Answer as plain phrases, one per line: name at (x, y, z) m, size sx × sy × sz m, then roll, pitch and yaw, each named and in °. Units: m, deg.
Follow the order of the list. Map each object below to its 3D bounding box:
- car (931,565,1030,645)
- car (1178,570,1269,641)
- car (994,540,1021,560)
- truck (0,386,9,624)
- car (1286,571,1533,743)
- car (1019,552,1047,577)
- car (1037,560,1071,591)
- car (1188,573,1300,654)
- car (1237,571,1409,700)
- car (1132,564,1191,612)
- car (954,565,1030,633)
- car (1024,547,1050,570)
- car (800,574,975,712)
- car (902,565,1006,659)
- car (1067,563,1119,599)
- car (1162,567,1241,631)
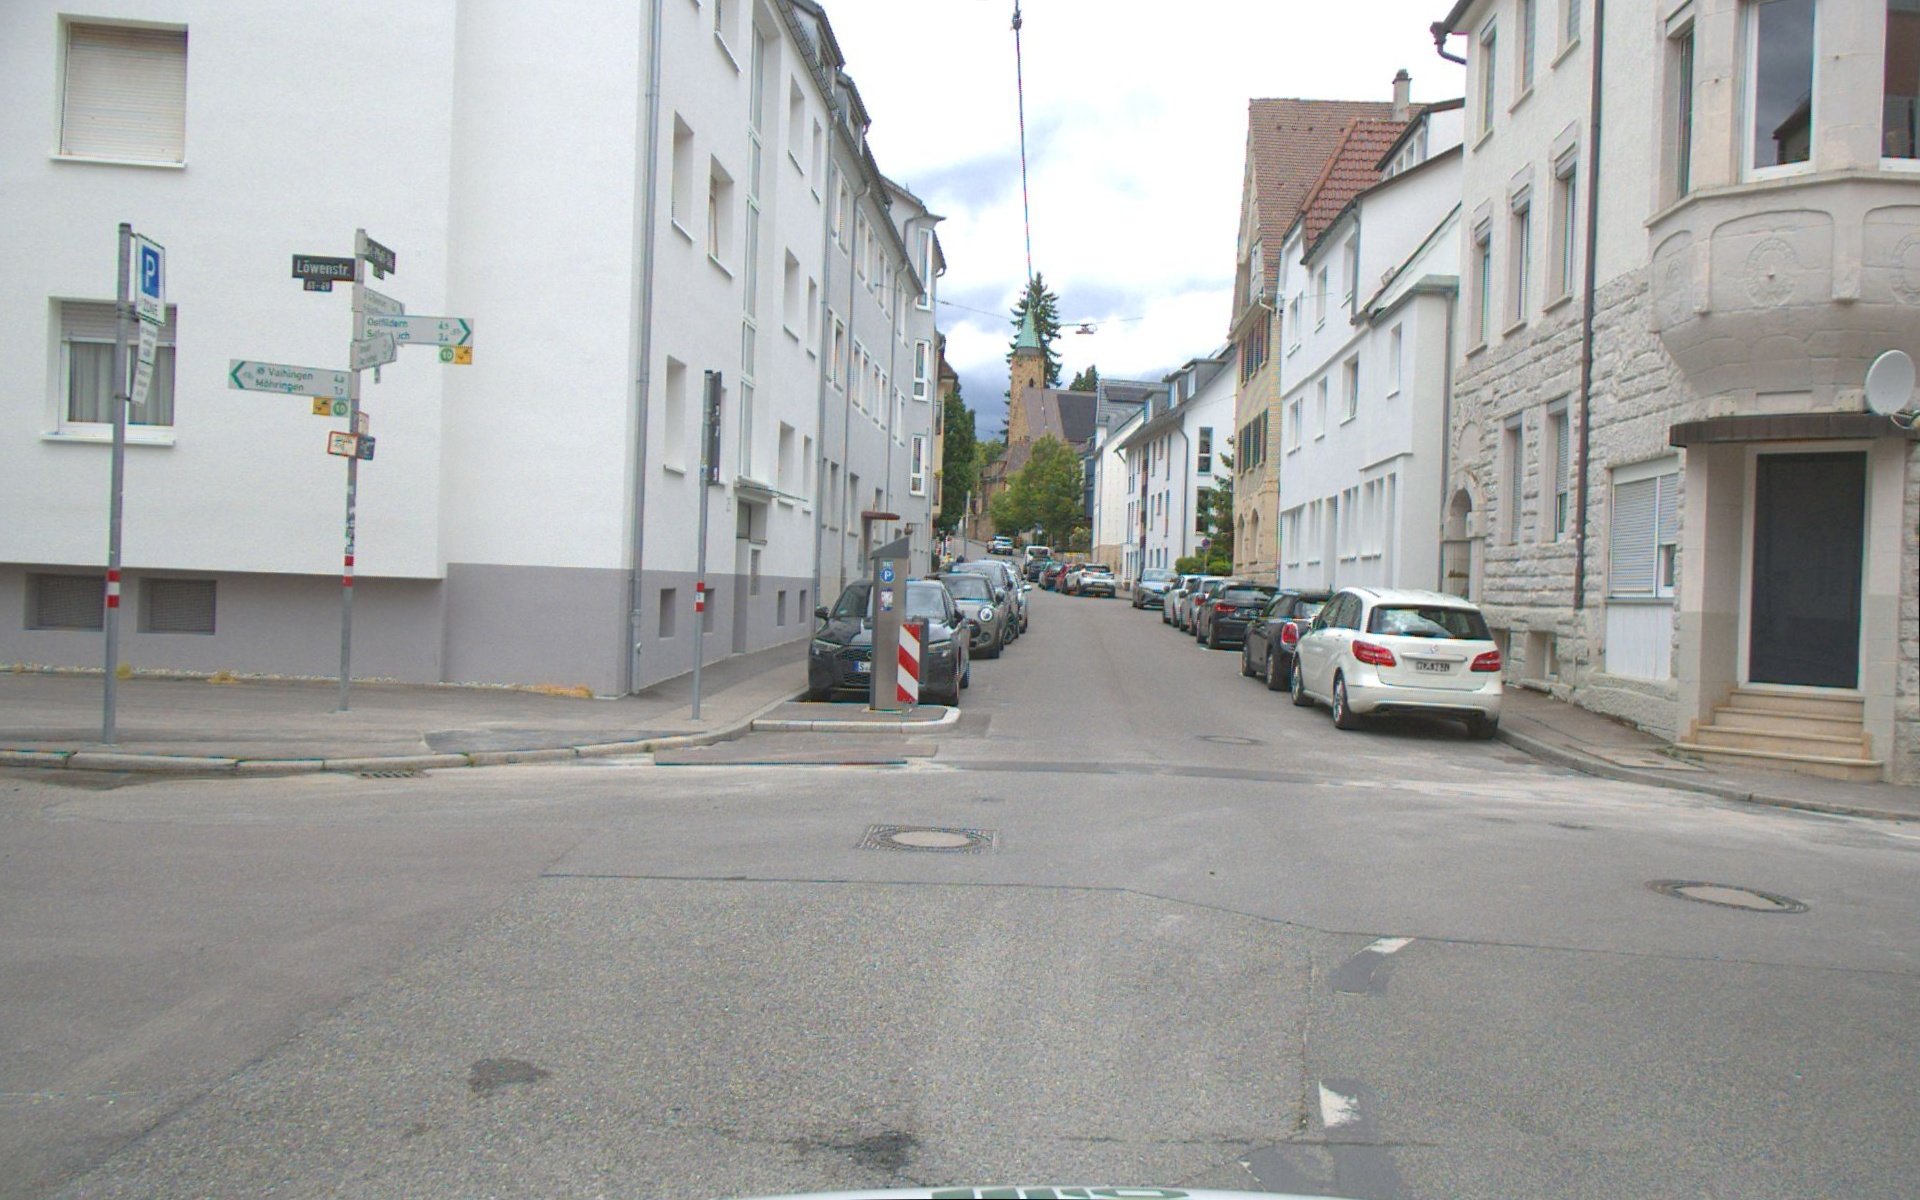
car at (0.469, 0.053, 34.109) m, size 1.693 × 1.495 × 3.722 m, roll 1°, pitch 2°, yaw 6°
car at (6.479, 0.101, 40.985) m, size 1.633 × 1.504 × 3.627 m, roll 4°, pitch 2°, yaw 1°
car at (4.492, -4.729, 156.536) m, size 2.139 × 1.722 × 3.624 m, roll 2°, pitch 2°, yaw -4°
truck at (-9.752, -0.312, 10.294) m, size 6.143 × 2.596 × 2.316 m, roll 2°, pitch -1°, yaw -4°
car at (5.158, 0.571, 19.535) m, size 1.783 × 1.626 × 4.029 m, roll 4°, pitch 2°, yaw 1°
car at (4.631, -2.278, 105.445) m, size 1.633 × 1.504 × 3.627 m, roll 2°, pitch 2°, yaw 1°
car at (5.030, -1.340, 88.588) m, size 1.633 × 1.504 × 3.627 m, roll 2°, pitch 2°, yaw 1°
car at (5.914, 0.235, 34.839) m, size 1.633 × 1.408 × 4.029 m, roll 4°, pitch 2°, yaw 1°
car at (5.262, 0.443, 24.471) m, size 1.633 × 1.559 × 4.029 m, roll 4°, pitch 2°, yaw 1°
car at (7.126, -0.450, 58.844) m, size 1.633 × 1.504 × 3.627 m, roll 4°, pitch 2°, yaw 1°
car at (0.782, -0.068, 39.292) m, size 1.694 × 1.473 × 3.721 m, roll 1°, pitch 2°, yaw 2°
car at (5.437, -2.984, 117.173) m, size 1.633 × 1.504 × 3.627 m, roll 2°, pitch 2°, yaw 1°
car at (-0.766, 0.437, 20.129) m, size 1.782 × 1.415 × 4.300 m, roll 1°, pitch 2°, yaw 2°
car at (-0.043, 0.166, 29.427) m, size 1.694 × 1.515 × 3.721 m, roll 1°, pitch 2°, yaw 2°
car at (6.191, -0.914, 77.477) m, size 1.750 × 1.504 × 3.622 m, roll 2°, pitch 2°, yaw -6°
car at (6.609, -0.066, 45.585) m, size 1.633 × 1.504 × 3.627 m, roll 4°, pitch 2°, yaw 1°
